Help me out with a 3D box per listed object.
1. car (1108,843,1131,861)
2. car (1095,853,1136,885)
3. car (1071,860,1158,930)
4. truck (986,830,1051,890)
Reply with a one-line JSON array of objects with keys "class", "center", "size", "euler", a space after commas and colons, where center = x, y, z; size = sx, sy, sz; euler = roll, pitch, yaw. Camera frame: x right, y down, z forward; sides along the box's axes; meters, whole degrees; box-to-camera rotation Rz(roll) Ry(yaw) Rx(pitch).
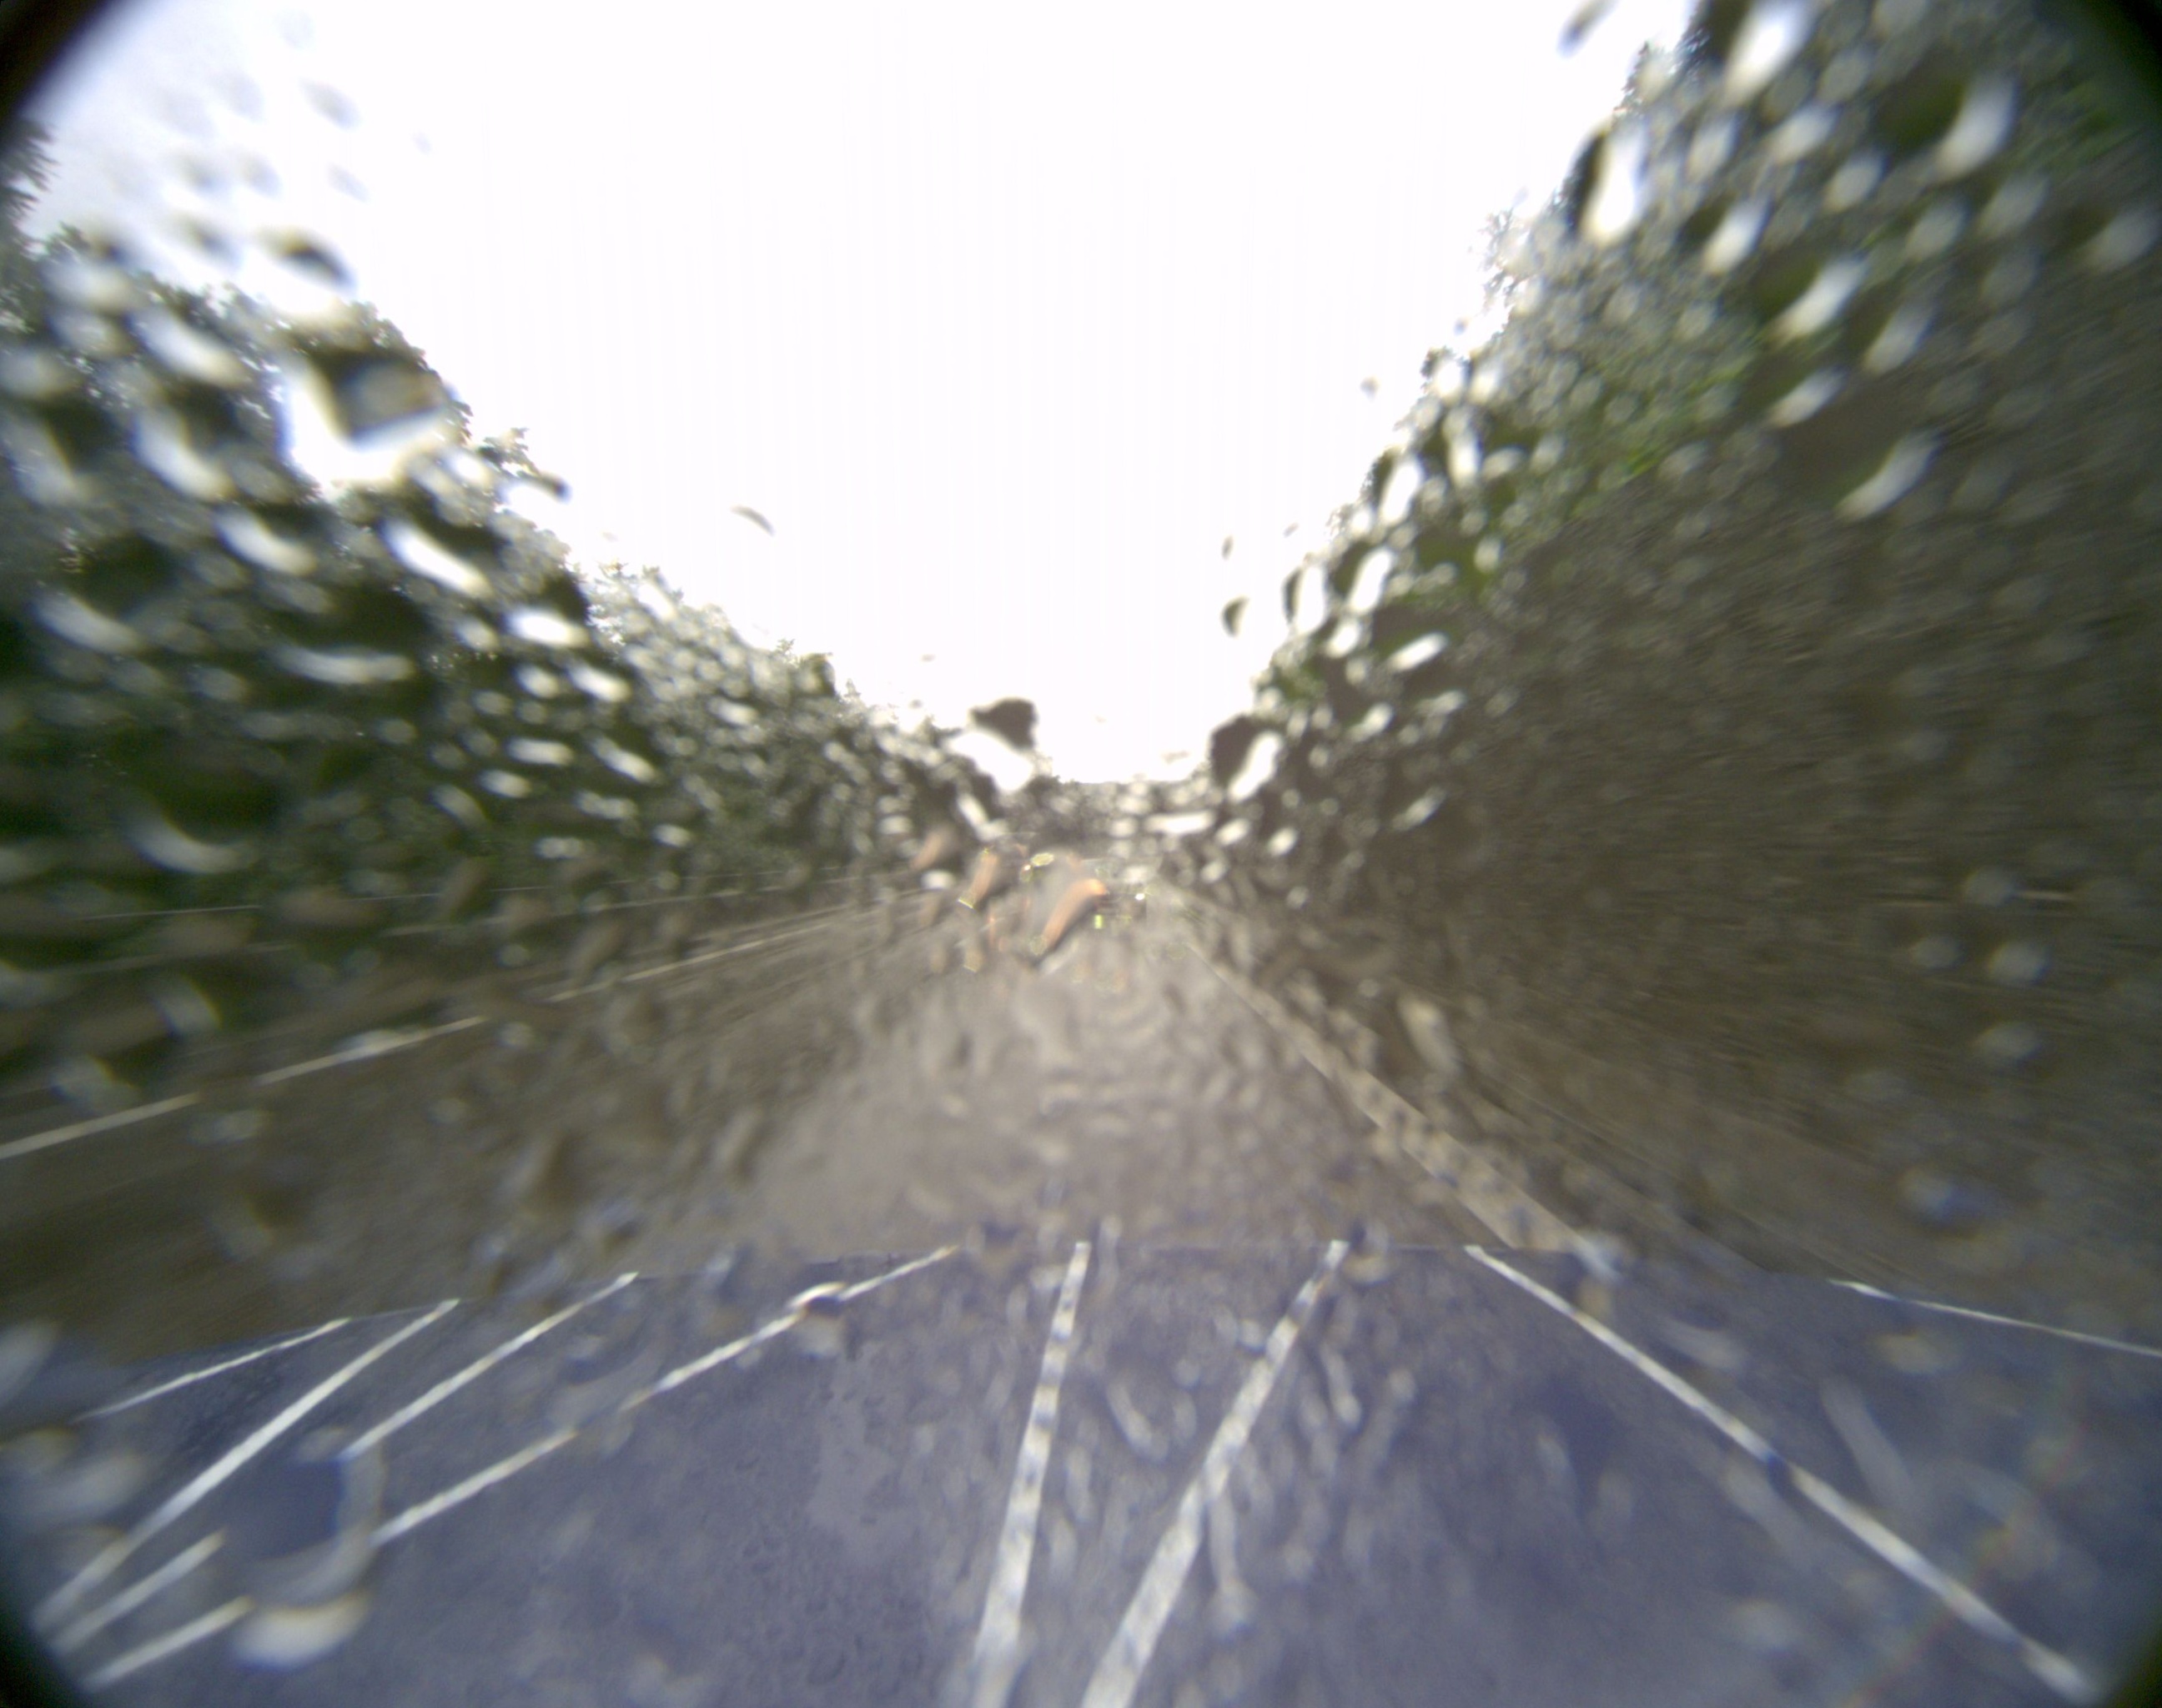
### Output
[{"class": "car", "center": [3.258, -0.176, 64.467], "size": [1.827, 1.375, 4.000], "euler": [-2, 0, 3]}, {"class": "car", "center": [1.734, 0.710, 37.282], "size": [1.827, 1.375, 4.001], "euler": [-2, 0, 4]}, {"class": "car", "center": [0.794, 0.905, 18.388], "size": [1.827, 1.375, 4.000], "euler": [-2, 1, 2]}, {"class": "truck", "center": [-2.828, 0.222, 36.370], "size": [2.108, 2.481, 8.002], "euler": [-1, 1, 2]}]
